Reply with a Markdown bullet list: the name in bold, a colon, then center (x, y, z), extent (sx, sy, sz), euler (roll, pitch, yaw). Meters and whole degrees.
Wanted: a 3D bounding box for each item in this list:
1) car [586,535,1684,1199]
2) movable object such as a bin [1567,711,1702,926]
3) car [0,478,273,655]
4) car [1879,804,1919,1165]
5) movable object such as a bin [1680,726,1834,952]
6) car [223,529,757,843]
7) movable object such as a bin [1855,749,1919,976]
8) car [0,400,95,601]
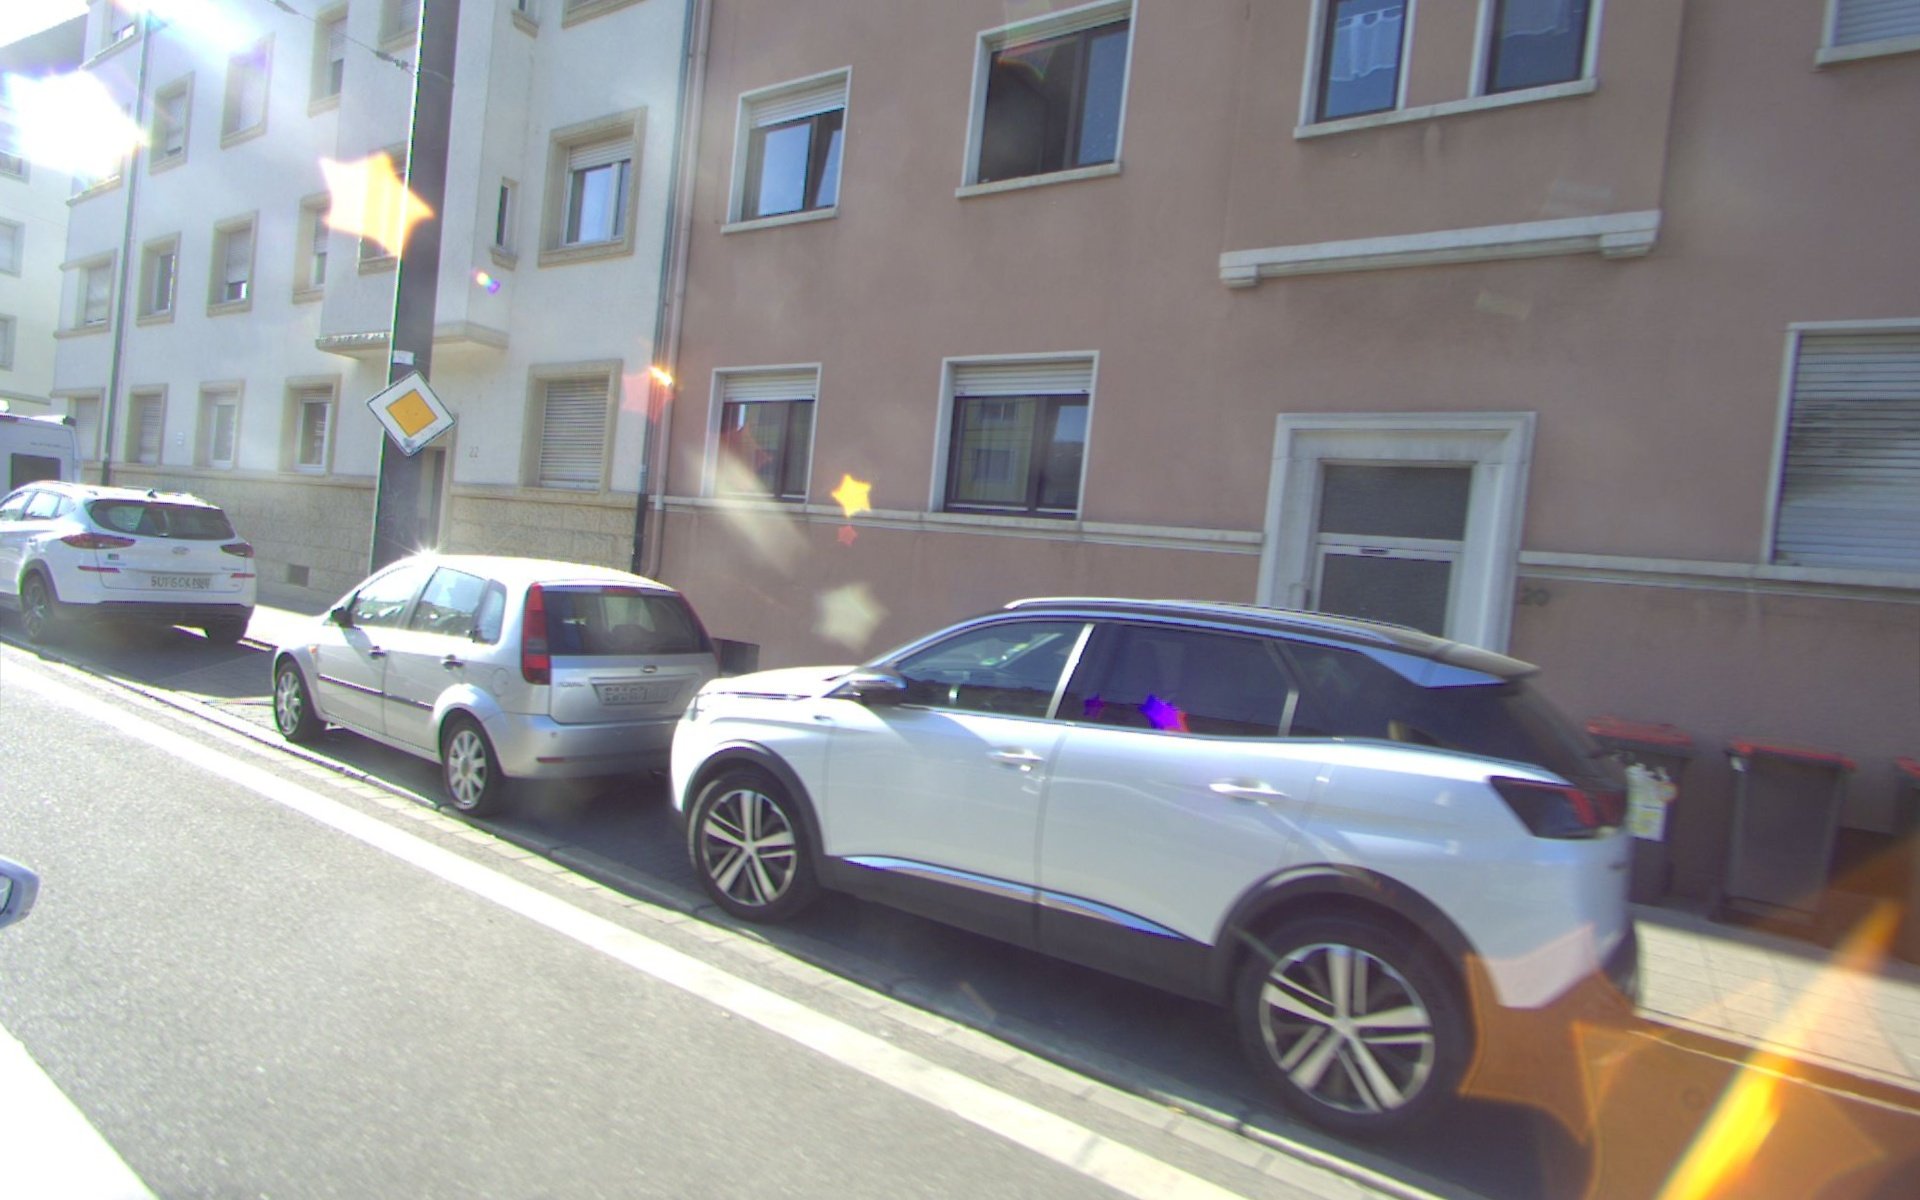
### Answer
- **car**: center (0.487, 0.743, 4.711), extent (4.416, 1.721, 1.801), euler (6, 3, 31)
- **movable object such as a bin**: center (4.108, 1.297, 6.153), extent (0.554, 1.148, 0.604), euler (6, -2, 34)
- **car**: center (-10.110, -0.460, 11.618), extent (4.499, 1.658, 1.848), euler (6, 1, 31)
- **car**: center (4.822, 1.331, 1.948), extent (4.085, 1.499, 1.745), euler (6, 3, 31)
- **movable object such as a bin**: center (4.632, 1.355, 5.888), extent (0.554, 1.148, 0.604), euler (6, -2, 34)
- **car**: center (-3.477, 0.400, 7.149), extent (3.991, 1.480, 1.620), euler (6, 3, 35)
- **movable object such as a bin**: center (5.305, 1.423, 5.411), extent (0.554, 1.148, 0.604), euler (6, -2, 34)
- **car**: center (-15.855, -1.641, 15.504), extent (6.190, 2.732, 2.150), euler (6, 2, 33)
